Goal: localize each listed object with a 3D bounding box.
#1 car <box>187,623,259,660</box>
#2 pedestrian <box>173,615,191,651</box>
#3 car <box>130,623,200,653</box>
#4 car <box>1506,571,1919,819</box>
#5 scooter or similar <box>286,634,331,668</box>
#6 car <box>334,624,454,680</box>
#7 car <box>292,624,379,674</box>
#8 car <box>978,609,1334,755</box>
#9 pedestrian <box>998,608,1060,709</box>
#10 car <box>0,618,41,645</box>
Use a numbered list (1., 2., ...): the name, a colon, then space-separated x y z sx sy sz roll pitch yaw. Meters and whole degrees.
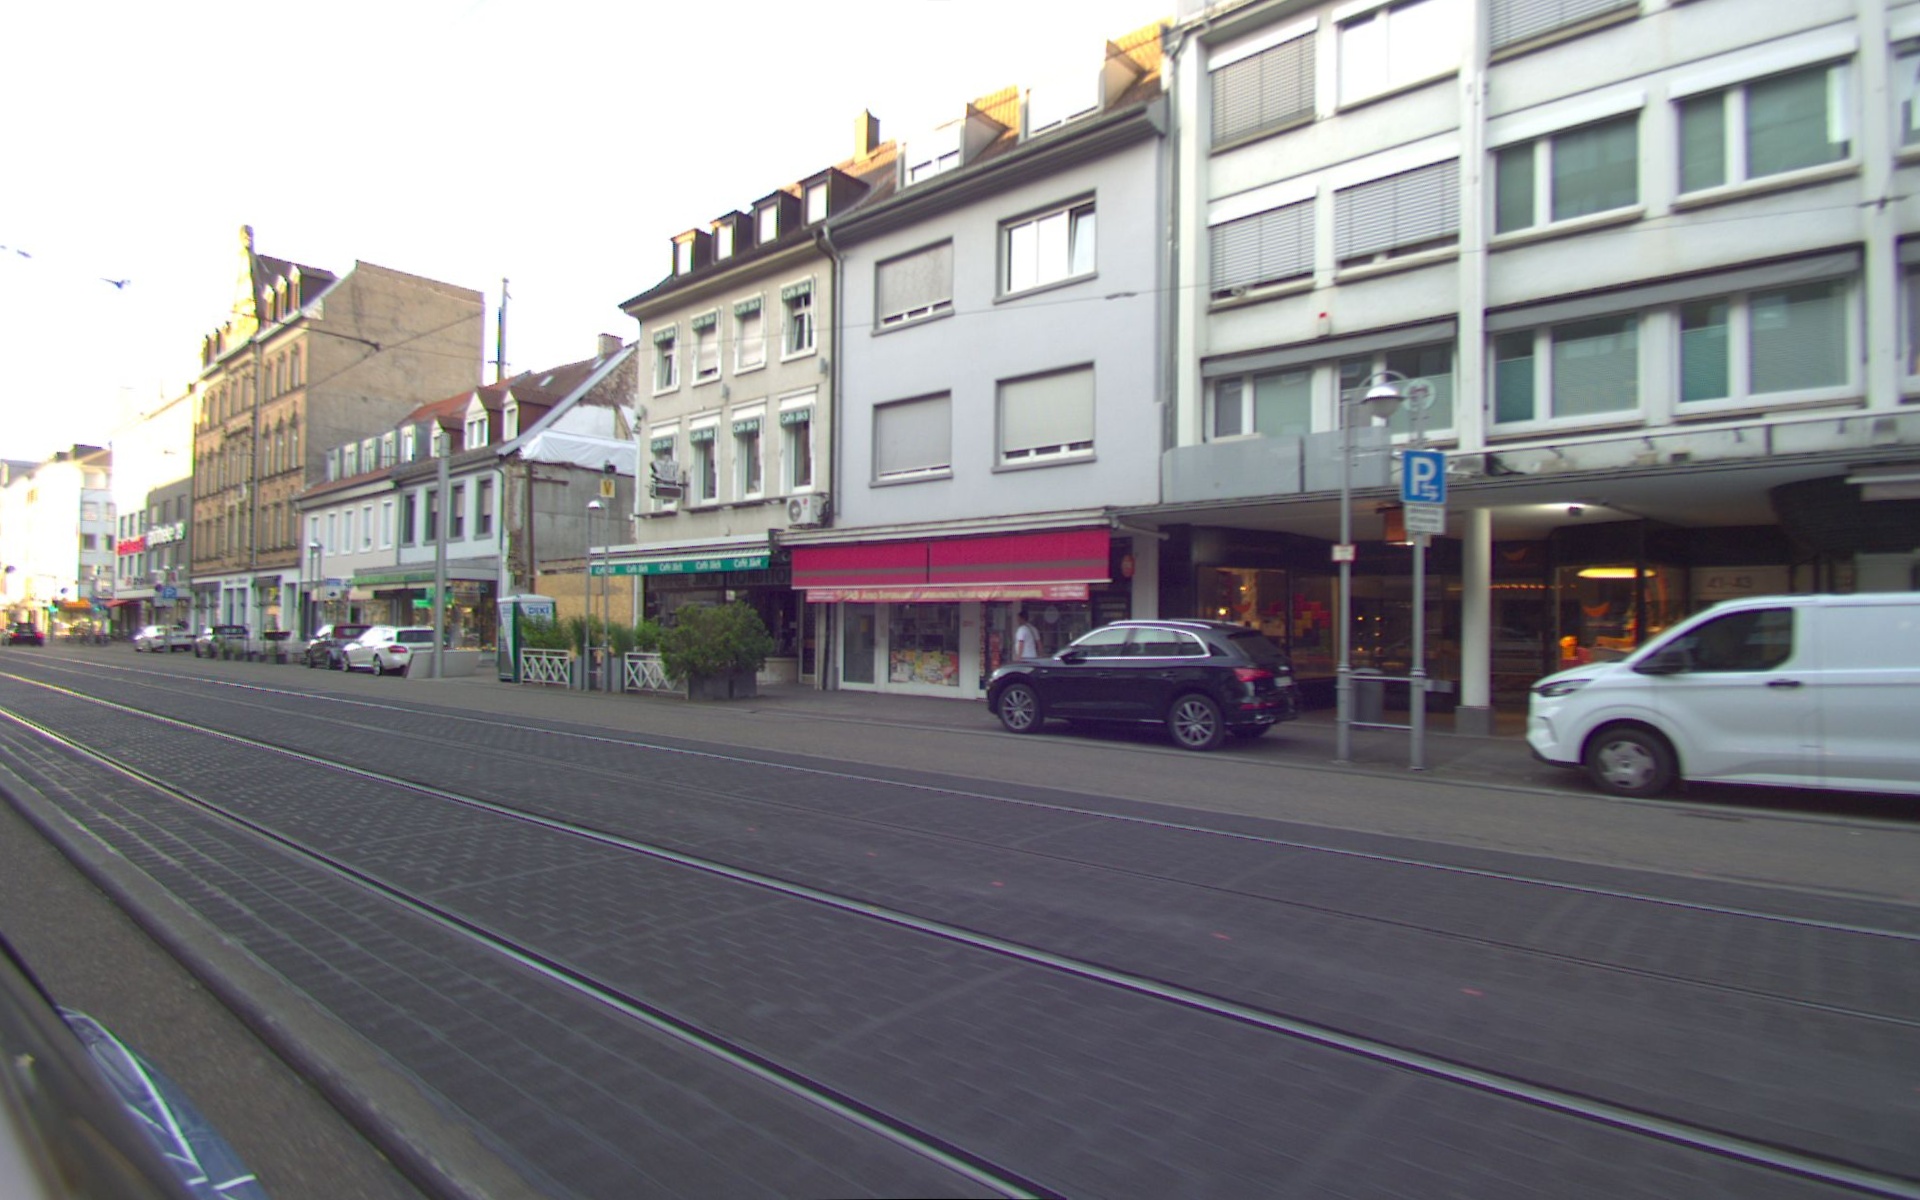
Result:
1. car: -33.228 1.822 45.586 3.814 1.504 1.822 -1 0 41
2. pedestrian: -45.770 1.933 59.541 0.738 2.029 1.049 0 0 -45
3. car: -42.143 1.971 53.599 4.399 1.431 1.974 -1 0 39
4. car: 8.104 0.778 9.370 5.096 2.029 1.944 -1 0 40
5. scooter or similar: -23.870 1.857 37.086 0.311 1.177 1.347 -1 0 43
6. car: -17.853 1.577 31.828 4.620 1.568 1.871 -1 0 41
7. car: -21.654 1.658 35.069 3.469 1.582 1.638 -1 0 41
8. car: 2.634 0.996 14.312 4.586 1.710 1.973 -1 0 41
9. pedestrian: 1.266 1.042 18.615 0.818 1.795 0.809 -1 0 41
10. car: -59.317 1.954 63.483 3.997 1.574 1.973 -1 0 40
